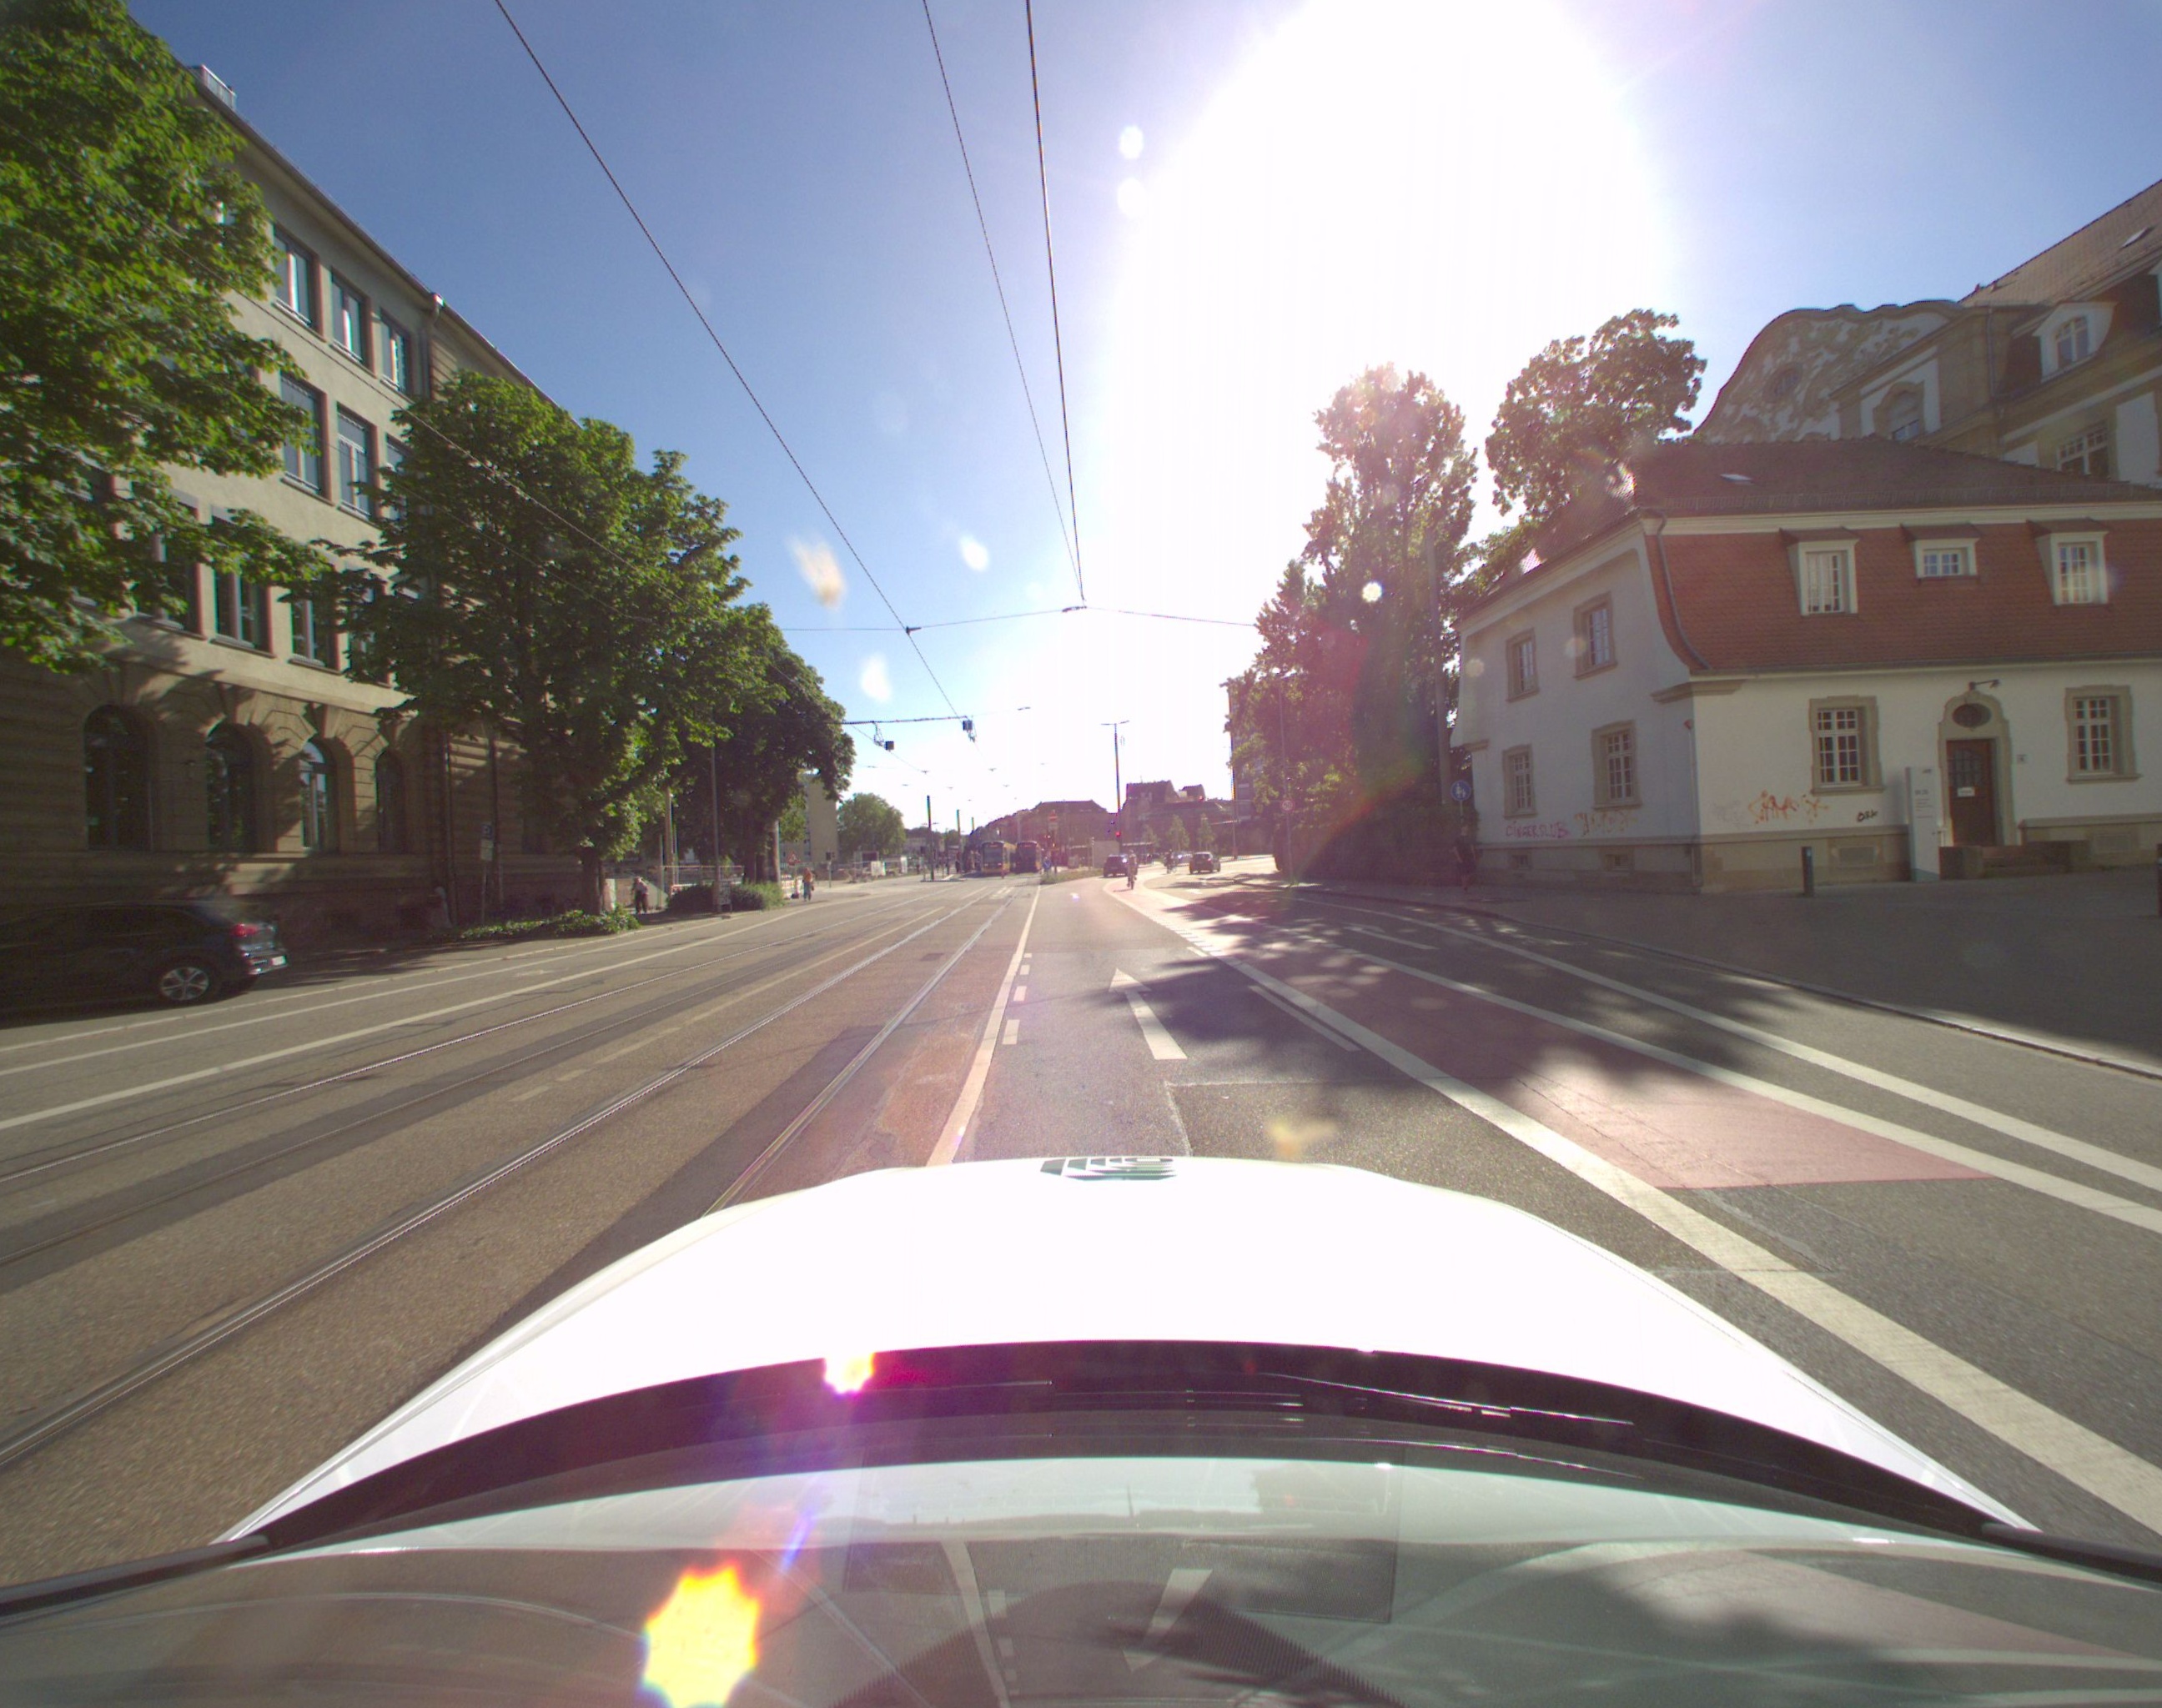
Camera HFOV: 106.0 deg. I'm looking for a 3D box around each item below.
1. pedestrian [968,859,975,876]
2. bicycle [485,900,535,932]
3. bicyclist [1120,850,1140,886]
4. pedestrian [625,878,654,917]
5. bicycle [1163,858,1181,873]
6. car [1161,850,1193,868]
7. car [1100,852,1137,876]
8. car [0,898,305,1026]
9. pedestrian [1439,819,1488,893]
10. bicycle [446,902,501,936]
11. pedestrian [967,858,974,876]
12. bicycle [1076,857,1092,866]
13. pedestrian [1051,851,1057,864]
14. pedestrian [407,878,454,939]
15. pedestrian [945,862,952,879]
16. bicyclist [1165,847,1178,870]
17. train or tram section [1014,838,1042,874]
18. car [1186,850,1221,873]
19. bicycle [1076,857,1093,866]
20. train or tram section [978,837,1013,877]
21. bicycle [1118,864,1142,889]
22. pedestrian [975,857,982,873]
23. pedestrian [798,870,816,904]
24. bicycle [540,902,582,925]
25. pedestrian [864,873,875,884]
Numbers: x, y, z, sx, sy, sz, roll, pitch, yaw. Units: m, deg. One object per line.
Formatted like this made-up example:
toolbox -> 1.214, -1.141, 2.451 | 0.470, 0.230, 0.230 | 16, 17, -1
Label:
pedestrian -> -12.171, 1.479, 90.149 | 0.625, 1.827, 0.661 | -3, 0, -4
bicycle -> -18.792, 2.024, 26.847 | 0.479, 0.917, 1.619 | -3, -1, -1
bicyclist -> 2.322, 0.640, 38.501 | 0.699, 1.675, 1.106 | -1, 0, 17
pedestrian -> -18.081, 1.761, 33.379 | 0.925, 1.504, 0.700 | -3, 0, -25
bicycle -> 6.843, 0.825, 61.113 | 0.698, 1.055, 2.326 | -1, 1, 22
car -> 9.565, 0.505, 80.800 | 1.685, 1.643, 3.736 | -2, 0, 33
car -> 2.728, 0.666, 58.253 | 1.775, 1.604, 3.729 | -2, 0, 16
car -> -14.585, 1.555, 12.132 | 4.012, 1.550, 1.859 | -2, -1, -30
pedestrian -> 10.386, 0.050, 22.158 | 0.636, 1.903, 1.134 | -5, 0, -1
bicycle -> -18.706, 1.995, 25.104 | 0.479, 0.917, 1.619 | -3, -1, -1
pedestrian -> -11.548, 1.366, 84.951 | 0.625, 1.827, 0.661 | -3, 0, -4
bicycle -> 0.363, 0.927, 100.782 | 1.931, 1.103, 0.598 | -3, 0, -5
pedestrian -> -4.113, 0.587, 123.738 | 0.661, 1.953, 0.625 | -3, 0, -14
pedestrian -> -18.283, 1.520, 22.910 | 0.699, 1.635, 0.759 | -1, 0, -3
pedestrian -> -14.733, 1.832, 90.618 | 0.625, 1.827, 0.661 | -3, 0, -4
bicyclist -> 6.822, 0.321, 61.074 | 0.698, 1.700, 0.992 | -1, 1, 22
train or tram section -> -5.953, 0.220, 92.753 | 2.736, 3.651, 13.769 | -3, 0, -3
car -> 9.028, 0.538, 59.743 | 1.774, 1.511, 3.732 | -2, 0, 20
bicycle -> 0.425, 0.919, 100.041 | 1.931, 1.103, 0.598 | -3, 0, -5
train or tram section -> -8.701, 0.255, 84.406 | 2.736, 3.651, 13.769 | -3, 0, -3
bicycle -> 2.318, 1.062, 38.452 | 0.699, 1.104, 1.725 | -1, 0, 17
pedestrian -> -12.055, 1.277, 95.693 | 0.625, 1.827, 0.661 | -3, 0, -4
pedestrian -> -14.083, 1.683, 41.859 | 0.636, 1.697, 0.816 | -4, 0, -13
bicycle -> -18.946, 2.150, 29.714 | 0.479, 0.724, 1.619 | -3, -1, -1
pedestrian -> -21.168, 2.488, 81.342 | 0.895, 1.046, 0.655 | -3, 0, -2
